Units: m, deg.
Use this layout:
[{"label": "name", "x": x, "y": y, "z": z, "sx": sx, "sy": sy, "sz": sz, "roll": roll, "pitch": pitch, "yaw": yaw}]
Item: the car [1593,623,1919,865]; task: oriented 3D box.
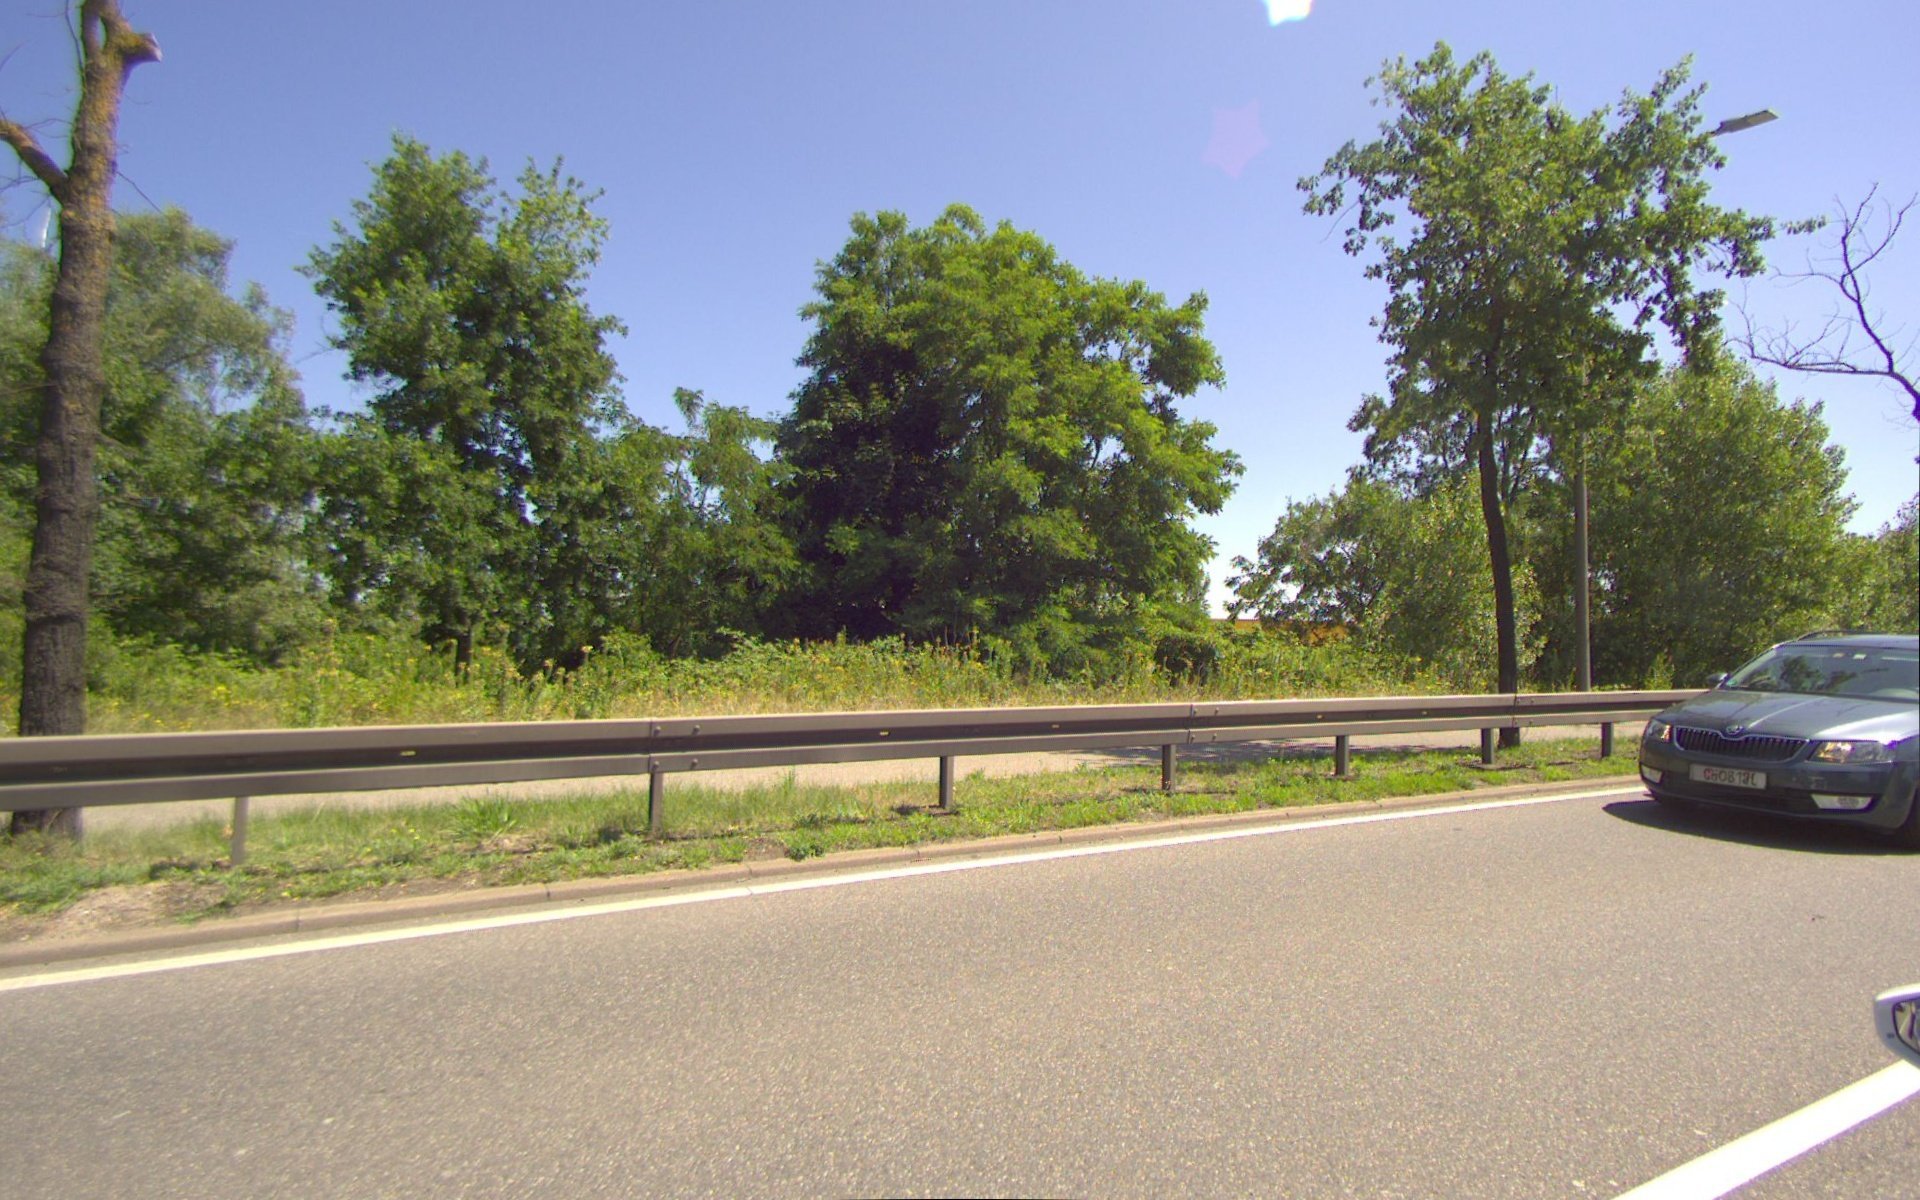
[{"label": "car", "x": 7.283, "y": 0.960, "z": 8.004, "sx": 4.458, "sy": 1.466, "sz": 1.738, "roll": 1, "pitch": -1, "yaw": -26}]
